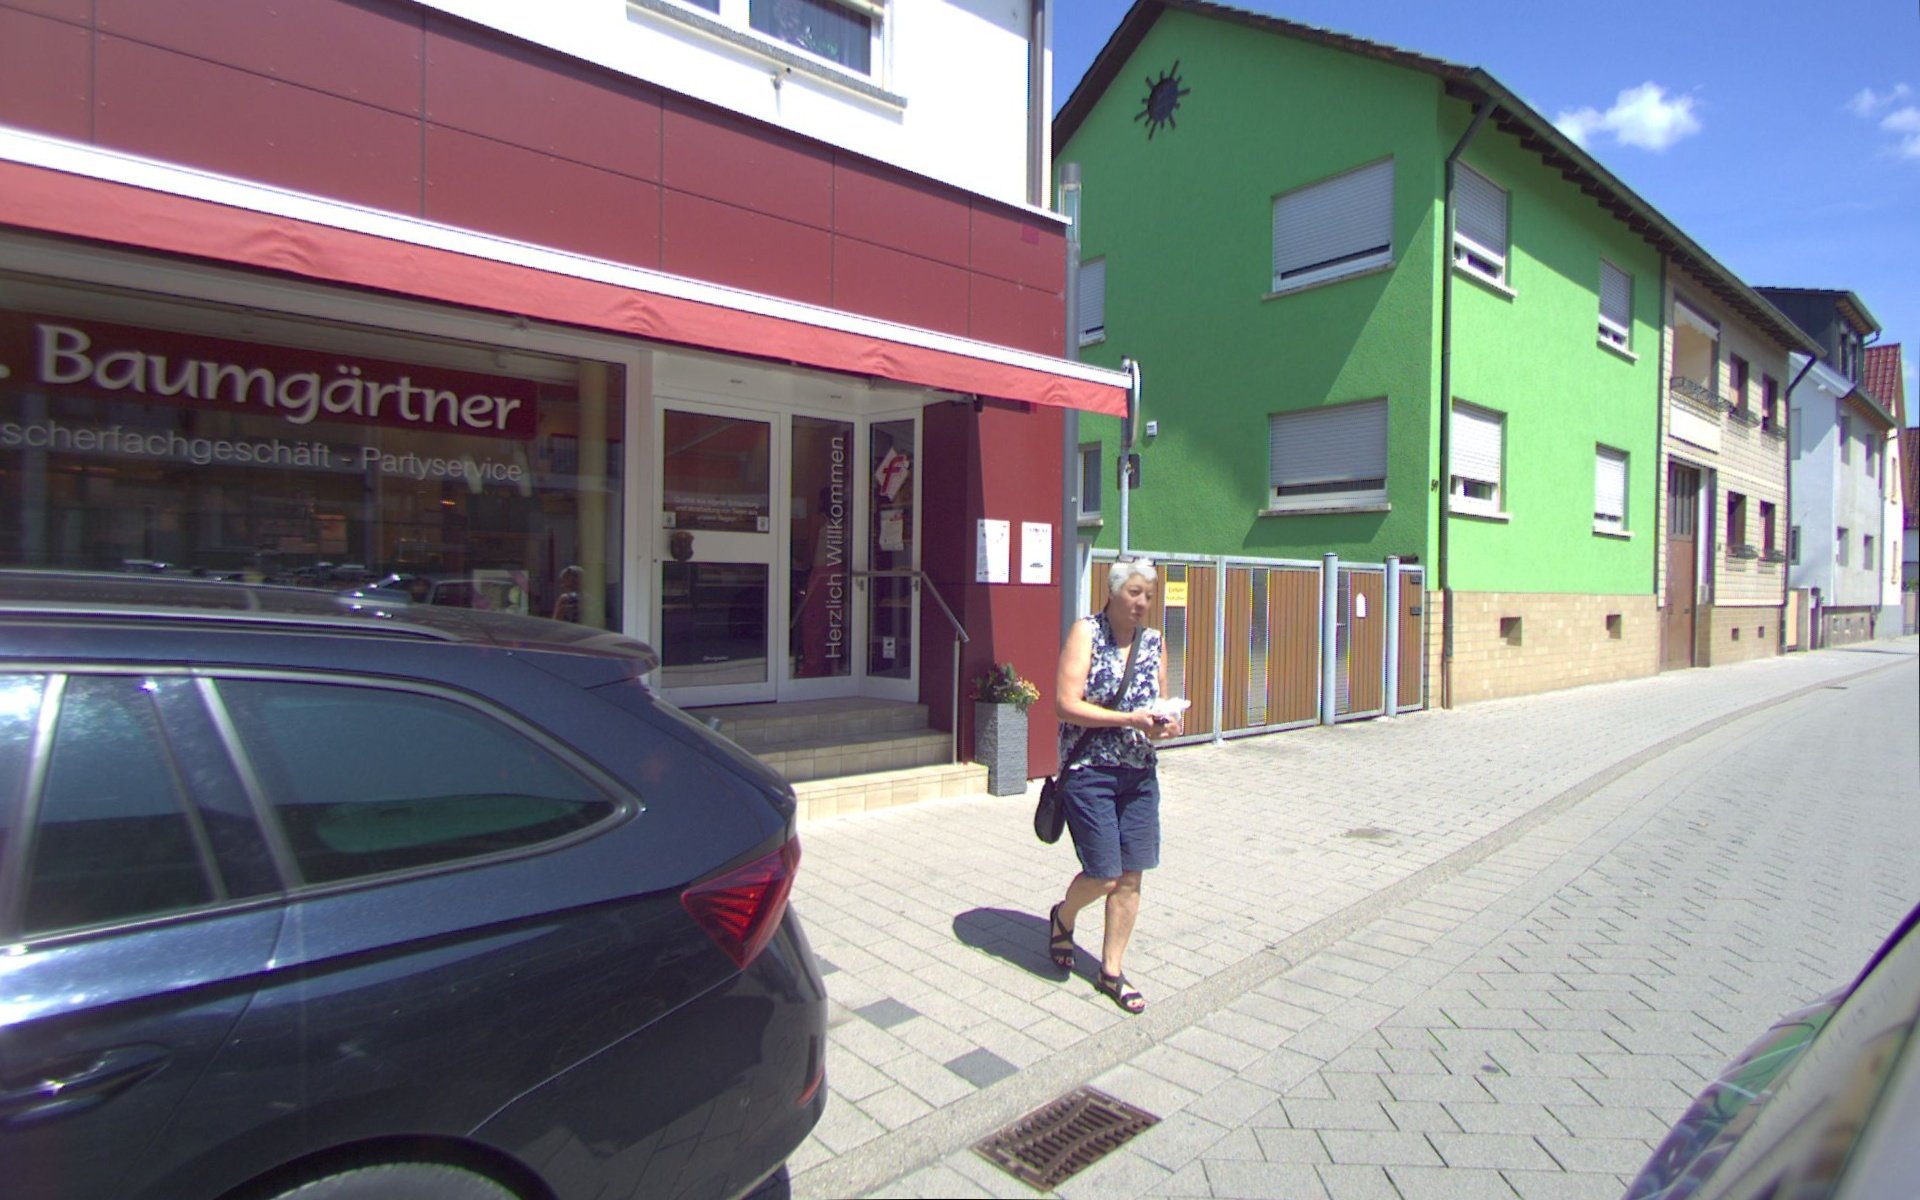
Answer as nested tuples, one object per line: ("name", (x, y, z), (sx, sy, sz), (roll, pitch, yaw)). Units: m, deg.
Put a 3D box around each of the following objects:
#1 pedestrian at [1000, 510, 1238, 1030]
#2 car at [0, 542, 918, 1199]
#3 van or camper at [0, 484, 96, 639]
("pedestrian", (0.566, 0.537, 3.666), (0.736, 1.660, 0.730), (1, 0, 9))
("car", (-2.439, 0.650, 1.384), (4.502, 1.477, 1.864), (0, 3, -38))
("van or camper", (-14.363, -0.503, 15.060), (1.963, 2.039, 4.864), (0, 0, -37))
